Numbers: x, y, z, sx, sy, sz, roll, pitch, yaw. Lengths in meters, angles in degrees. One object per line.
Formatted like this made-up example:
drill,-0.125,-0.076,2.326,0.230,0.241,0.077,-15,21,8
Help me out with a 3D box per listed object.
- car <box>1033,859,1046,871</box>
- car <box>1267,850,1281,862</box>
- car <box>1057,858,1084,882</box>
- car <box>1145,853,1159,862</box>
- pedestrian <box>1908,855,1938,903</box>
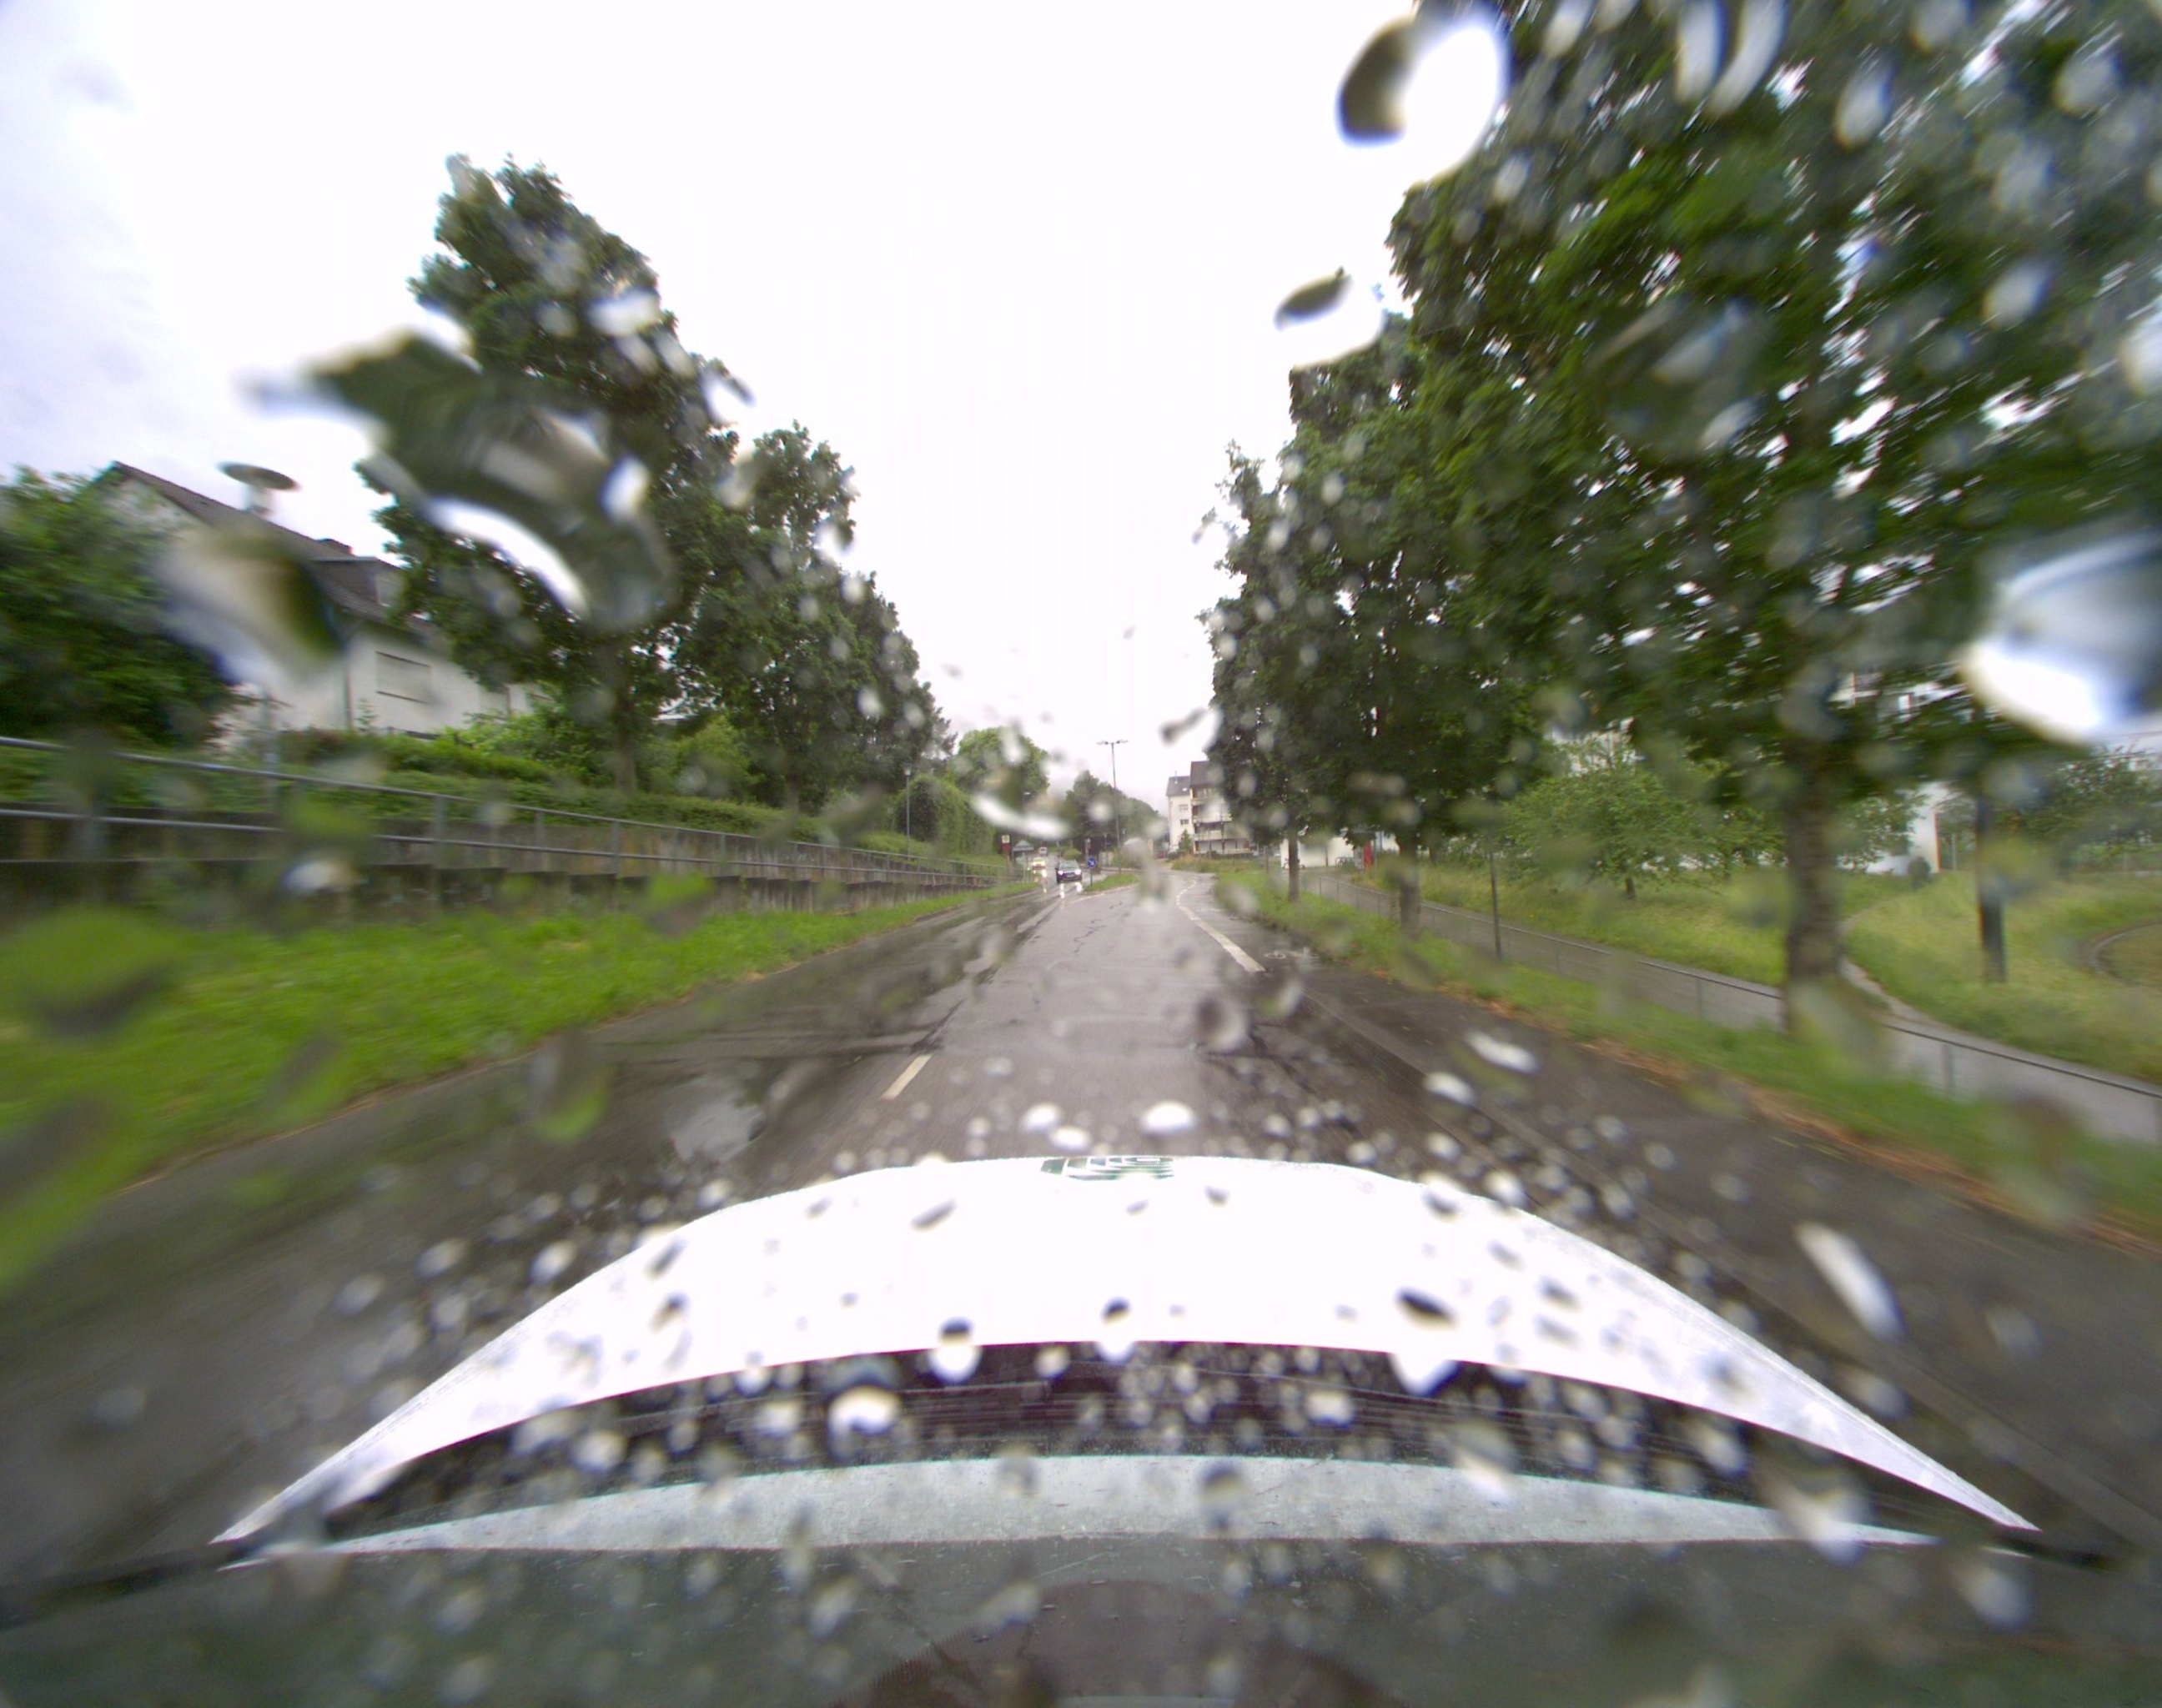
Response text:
car,-5.468,1.392,106.603,1.569,1.410,3.469,-4,0,-3
car,25.056,0.265,105.715,1.704,1.441,3.718,-2,-2,12
car,-0.702,1.112,58.162,1.755,1.503,4.141,-4,-1,0
car,12.456,0.641,143.364,1.686,1.438,3.605,-3,1,-6
pedestrian,37.185,1.090,35.966,0.774,2.013,0.768,-3,1,-32
